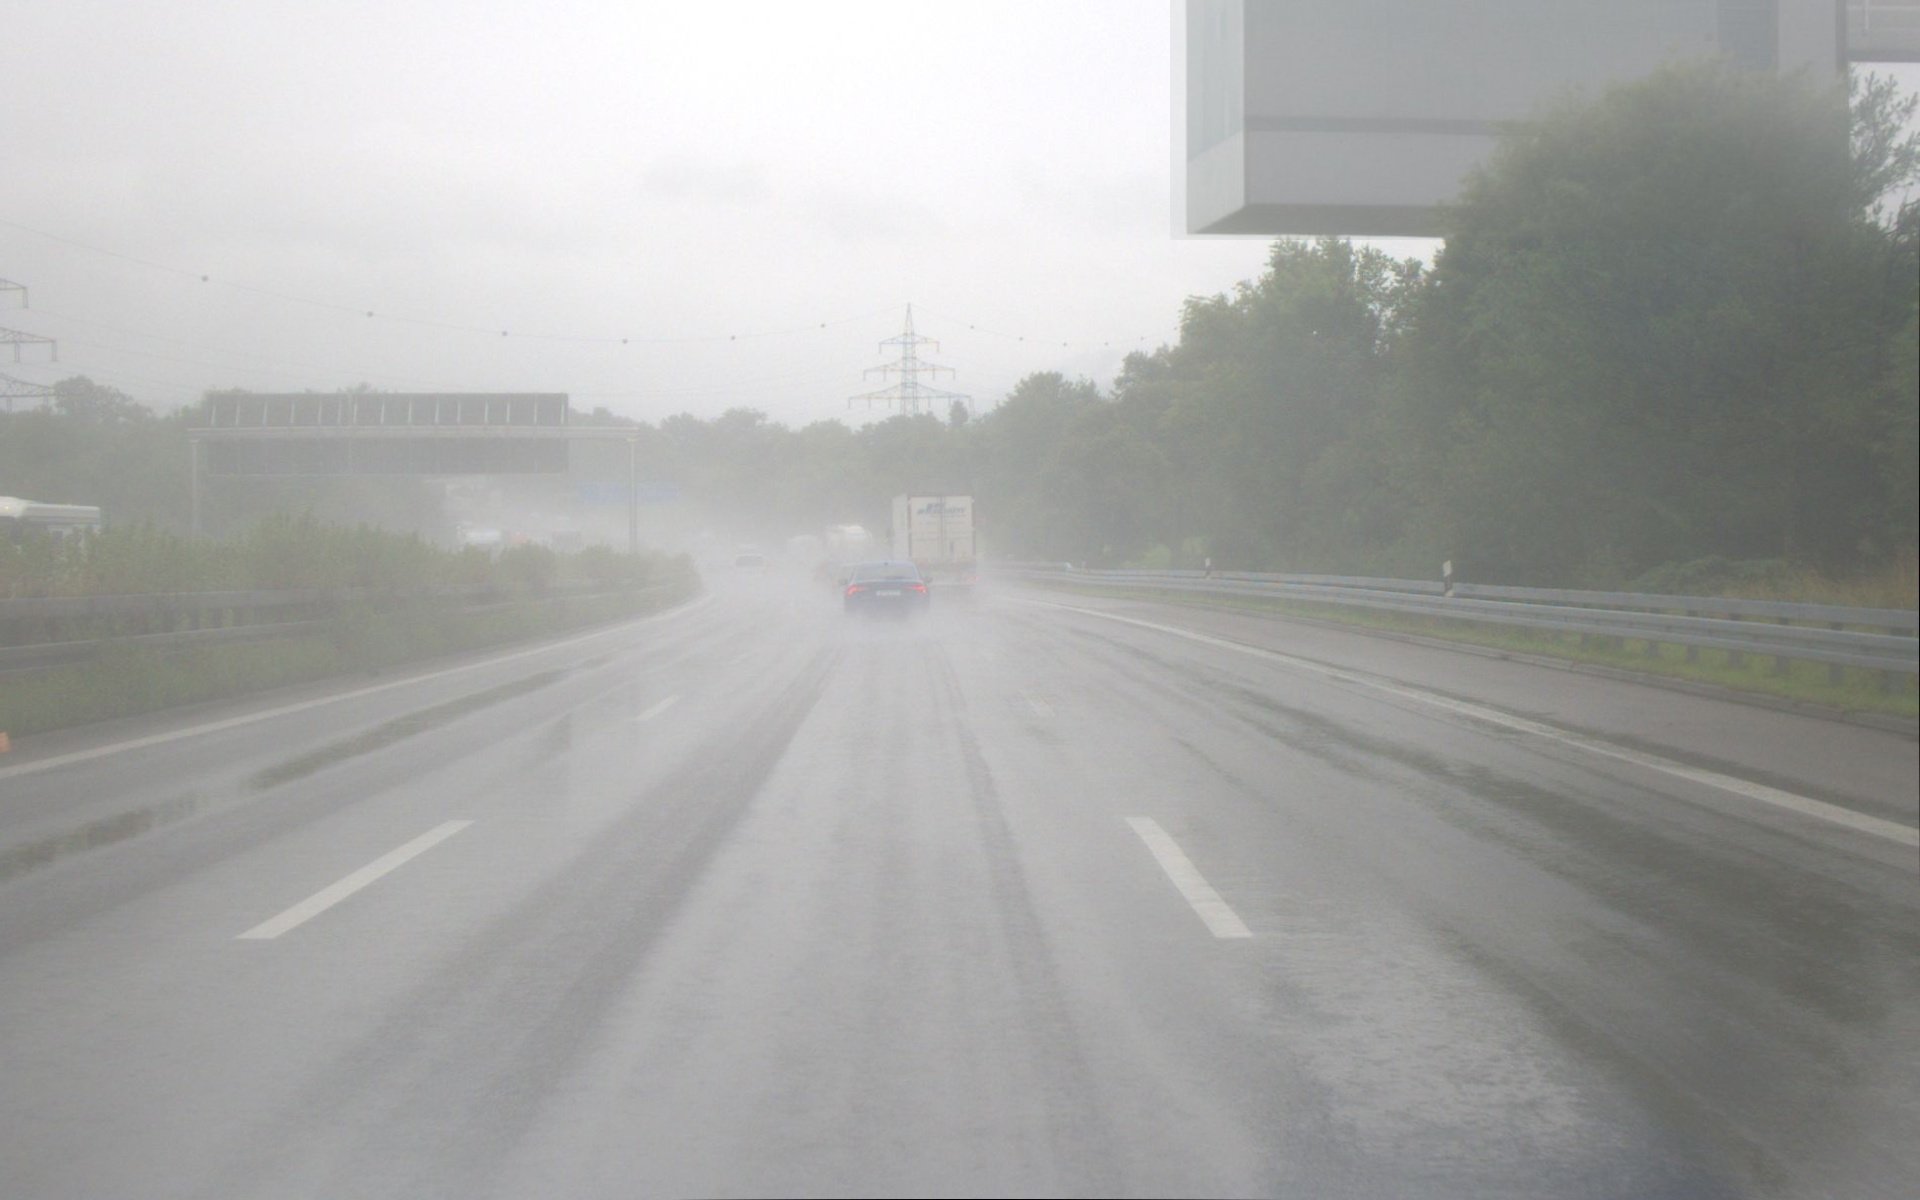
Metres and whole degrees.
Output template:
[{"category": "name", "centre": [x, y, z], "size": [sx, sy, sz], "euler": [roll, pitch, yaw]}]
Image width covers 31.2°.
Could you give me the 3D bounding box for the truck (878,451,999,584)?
[{"category": "truck", "centre": [-1.047, -3.383, 140.755], "size": [4.256, 4.955, 17.343], "euler": [-2, 1, -2]}]

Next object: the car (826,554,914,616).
[{"category": "car", "centre": [-1.869, -0.330, 71.752], "size": [1.748, 1.208, 4.000], "euler": [1, 1, -1]}]
